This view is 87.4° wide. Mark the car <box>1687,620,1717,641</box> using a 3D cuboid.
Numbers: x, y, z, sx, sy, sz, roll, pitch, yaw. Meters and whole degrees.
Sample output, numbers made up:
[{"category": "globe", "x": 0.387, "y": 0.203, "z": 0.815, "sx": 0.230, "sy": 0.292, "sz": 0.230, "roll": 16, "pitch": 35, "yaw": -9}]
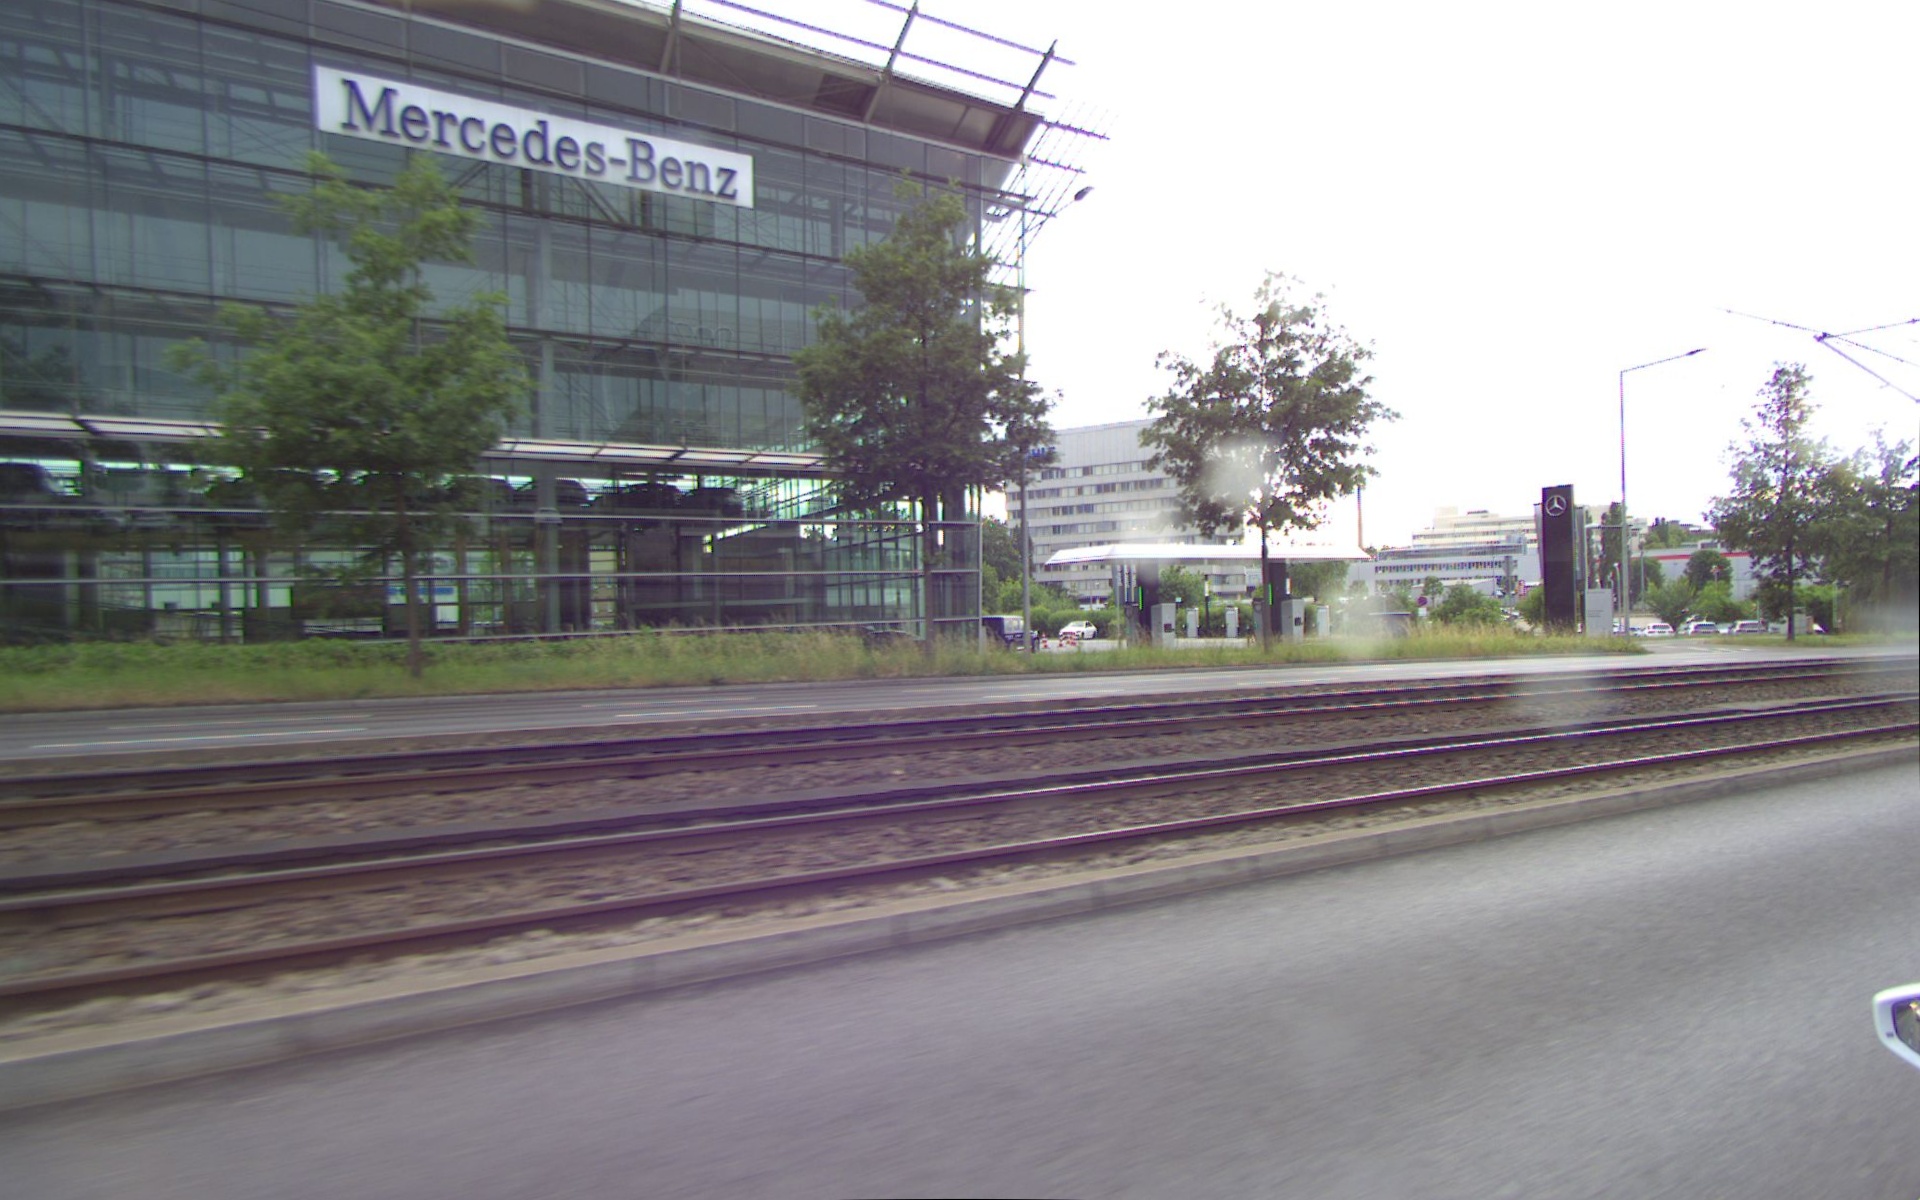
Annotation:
[{"category": "car", "x": 56.035, "y": 2.308, "z": 75.821, "sx": 1.730, "sy": 1.514, "sz": 3.984, "roll": 2, "pitch": 0, "yaw": 38}]

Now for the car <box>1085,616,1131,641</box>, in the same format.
[{"category": "car", "x": 11.308, "y": 2.164, "z": 76.648, "sx": 1.965, "sy": 1.751, "sz": 3.991, "roll": 2, "pitch": 0, "yaw": 32}]

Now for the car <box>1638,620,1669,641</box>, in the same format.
[{"category": "car", "x": 53.955, "y": 2.382, "z": 78.105, "sx": 1.730, "sy": 1.514, "sz": 3.984, "roll": 2, "pitch": 0, "yaw": 38}]

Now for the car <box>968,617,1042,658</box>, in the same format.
[{"category": "car", "x": 2.262, "y": 1.808, "z": 49.343, "sx": 1.862, "sy": 1.875, "sz": 3.990, "roll": 2, "pitch": 0, "yaw": 32}]

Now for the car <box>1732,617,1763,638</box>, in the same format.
[{"category": "car", "x": 58.427, "y": 2.039, "z": 74.565, "sx": 1.730, "sy": 1.514, "sz": 3.984, "roll": 2, "pitch": 0, "yaw": 38}]

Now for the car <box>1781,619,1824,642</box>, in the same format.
[{"category": "car", "x": 60.968, "y": 2.173, "z": 72.744, "sx": 1.966, "sy": 1.530, "sz": 3.988, "roll": 2, "pitch": 0, "yaw": 34}]

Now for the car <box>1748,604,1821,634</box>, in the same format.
[{"category": "car", "x": 50.361, "y": 1.138, "z": 61.369, "sx": 3.947, "sy": 1.672, "sz": 1.987, "roll": 2, "pitch": 0, "yaw": -26}]

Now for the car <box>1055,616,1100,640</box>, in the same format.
[{"category": "car", "x": 9.217, "y": 2.205, "z": 78.529, "sx": 1.965, "sy": 1.751, "sz": 3.991, "roll": 2, "pitch": 0, "yaw": 32}]

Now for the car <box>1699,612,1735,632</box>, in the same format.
[{"category": "car", "x": 63.903, "y": 1.839, "z": 84.853, "sx": 1.965, "sy": 1.530, "sz": 3.992, "roll": 2, "pitch": 0, "yaw": 31}]
